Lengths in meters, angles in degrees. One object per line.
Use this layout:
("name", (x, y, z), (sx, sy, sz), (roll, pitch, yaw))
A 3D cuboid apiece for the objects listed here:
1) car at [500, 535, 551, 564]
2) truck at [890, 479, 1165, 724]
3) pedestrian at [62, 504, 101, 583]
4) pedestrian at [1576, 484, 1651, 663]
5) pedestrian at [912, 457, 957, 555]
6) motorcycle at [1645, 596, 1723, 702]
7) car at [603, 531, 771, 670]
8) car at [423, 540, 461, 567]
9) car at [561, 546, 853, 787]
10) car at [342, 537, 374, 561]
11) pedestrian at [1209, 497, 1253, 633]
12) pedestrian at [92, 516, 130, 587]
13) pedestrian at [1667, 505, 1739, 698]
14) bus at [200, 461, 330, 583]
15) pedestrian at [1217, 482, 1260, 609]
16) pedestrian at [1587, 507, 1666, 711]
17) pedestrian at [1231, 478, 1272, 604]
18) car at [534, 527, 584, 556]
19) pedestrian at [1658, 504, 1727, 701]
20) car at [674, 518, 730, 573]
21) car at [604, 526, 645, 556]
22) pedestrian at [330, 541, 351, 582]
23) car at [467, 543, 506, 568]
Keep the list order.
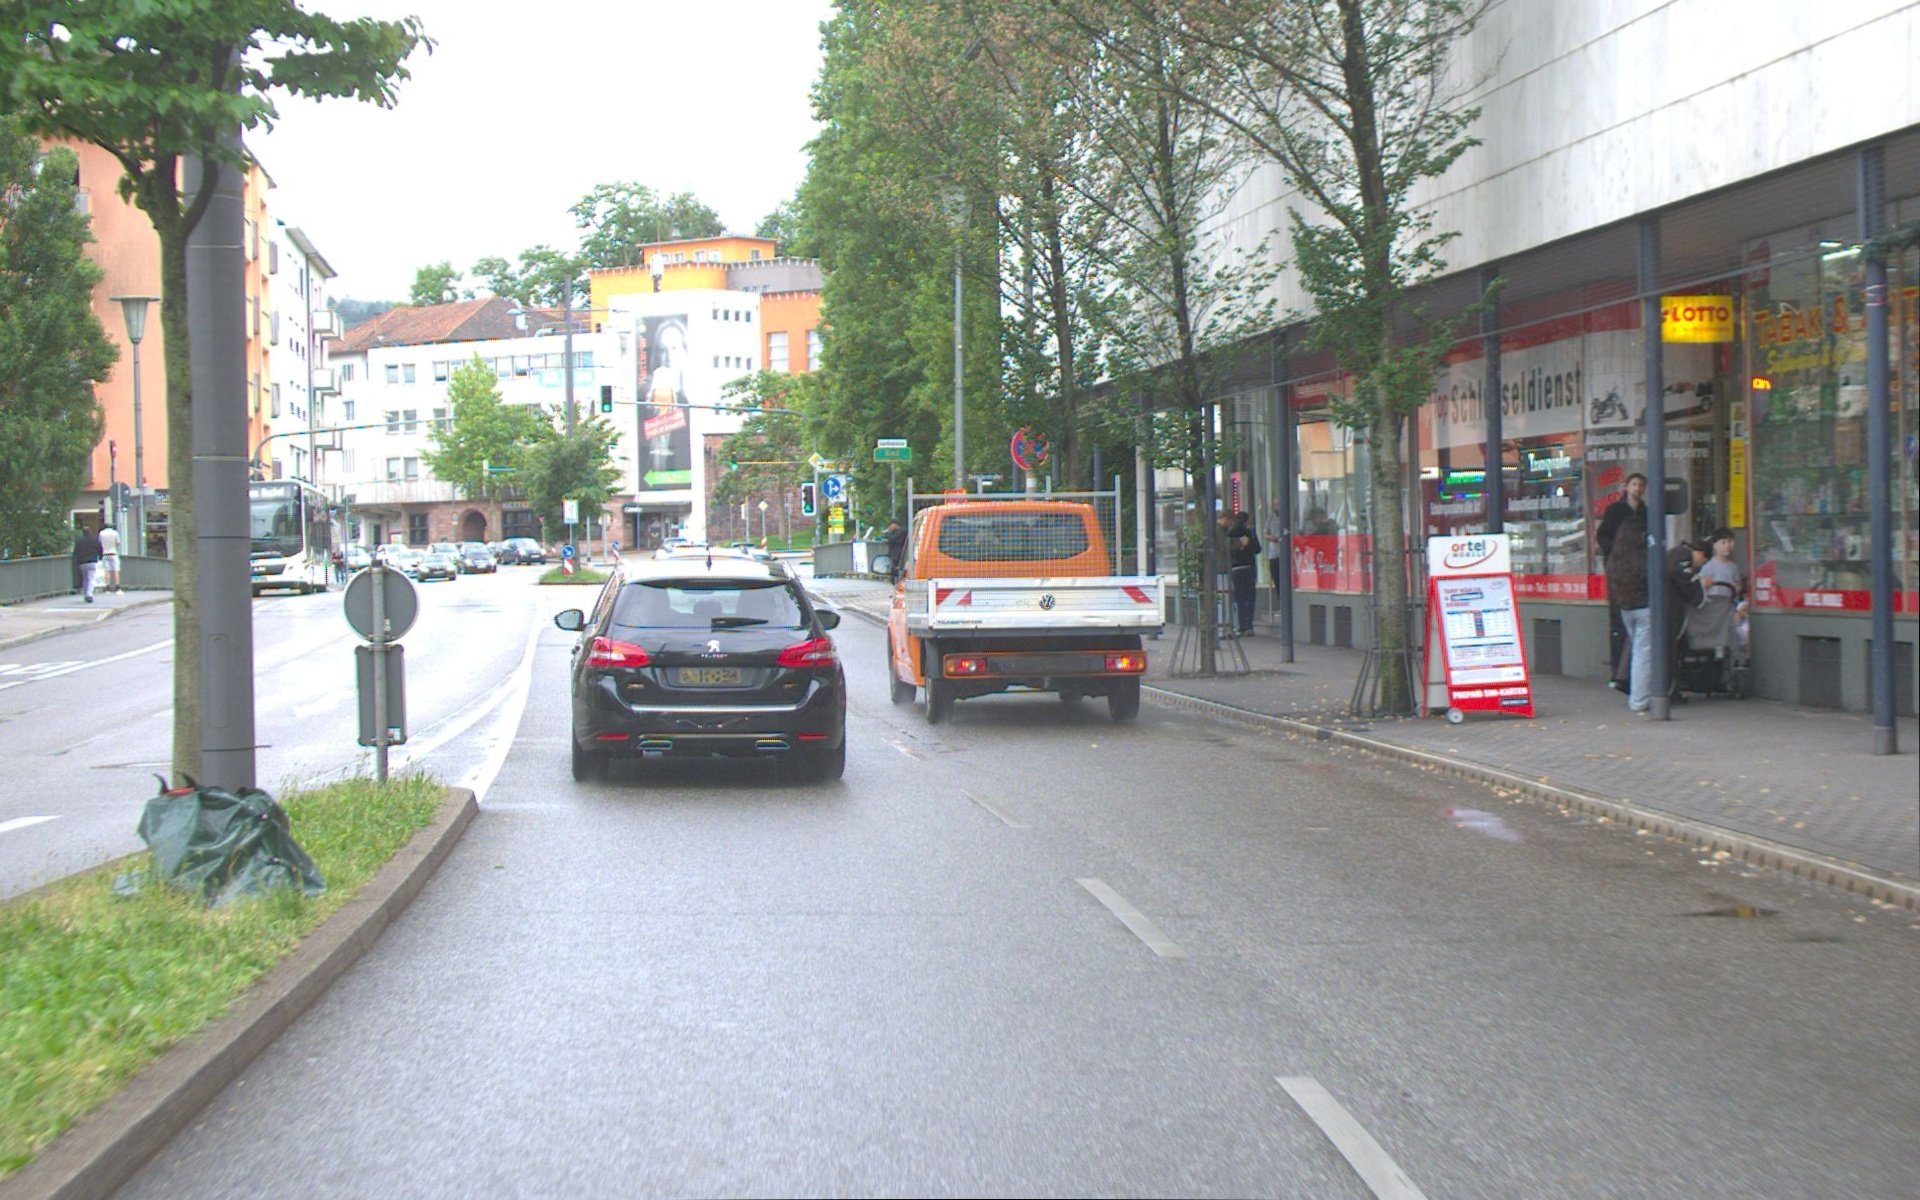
("car", (-25.937, -3.019, 205.269), (1.644, 1.559, 3.600), (3, -2, -31))
("truck", (0.516, 0.012, 30.845), (2.121, 2.018, 4.716), (0, 0, -3))
("pedestrian", (-20.105, -1.296, 78.677), (0.698, 1.788, 0.959), (0, 0, -3))
("pedestrian", (5.786, -0.239, 30.423), (0.430, 1.561, 0.508), (0, 2, 40))
("pedestrian", (-0.472, -1.707, 62.640), (0.653, 1.761, 0.923), (-2, 1, -6))
("motorcycle", (5.827, 0.387, 27.686), (0.324, 0.801, 0.920), (-2, 2, -6))
("car", (-3.132, -0.024, 39.280), (1.794, 1.478, 4.001), (-1, 1, -5))
("car", (-26.683, -2.399, 177.197), (1.791, 1.320, 4.408), (-1, 1, -7))
("car", (-1.723, 0.413, 23.455), (1.794, 1.478, 4.001), (1, 0, -4))
("car", (-36.439, -3.110, 208.211), (1.664, 1.395, 3.877), (-2, 1, -7))
("pedestrian", (3.651, -0.480, 46.327), (0.536, 1.813, 0.534), (-1, 1, 2))
("pedestrian", (-21.538, -1.228, 87.239), (0.797, 1.788, 0.812), (0, 0, -4))
("pedestrian", (6.091, 0.008, 28.192), (0.429, 1.561, 0.509), (-1, 1, -2))
("bus", (-18.735, -2.229, 93.308), (2.743, 3.065, 12.241), (-1, 2, -8))
("pedestrian", (3.797, -0.751, 46.920), (0.536, 1.713, 0.534), (-1, 1, 2))
("pedestrian", (5.175, 0.063, 26.719), (0.429, 1.561, 0.510), (-2, 1, -8))
("pedestrian", (4.027, -0.818, 47.499), (0.536, 1.713, 0.534), (-1, 1, 4))
("car", (-24.405, -3.553, 209.218), (1.644, 1.559, 3.600), (3, -2, -31))
("pedestrian", (5.885, 0.012, 27.625), (0.387, 1.561, 0.430), (-2, 1, -8))
("car", (-8.300, -1.748, 110.423), (1.644, 1.559, 3.600), (2, -2, -6))
("car", (-19.352, -3.371, 198.060), (1.993, 1.678, 4.001), (-1, 1, -10))
("pedestrian", (-31.194, -1.925, 173.085), (0.726, 2.007, 0.657), (3, -2, -39))
("car", (-26.137, -2.436, 189.629), (1.791, 1.320, 4.408), (-1, 1, -12))
